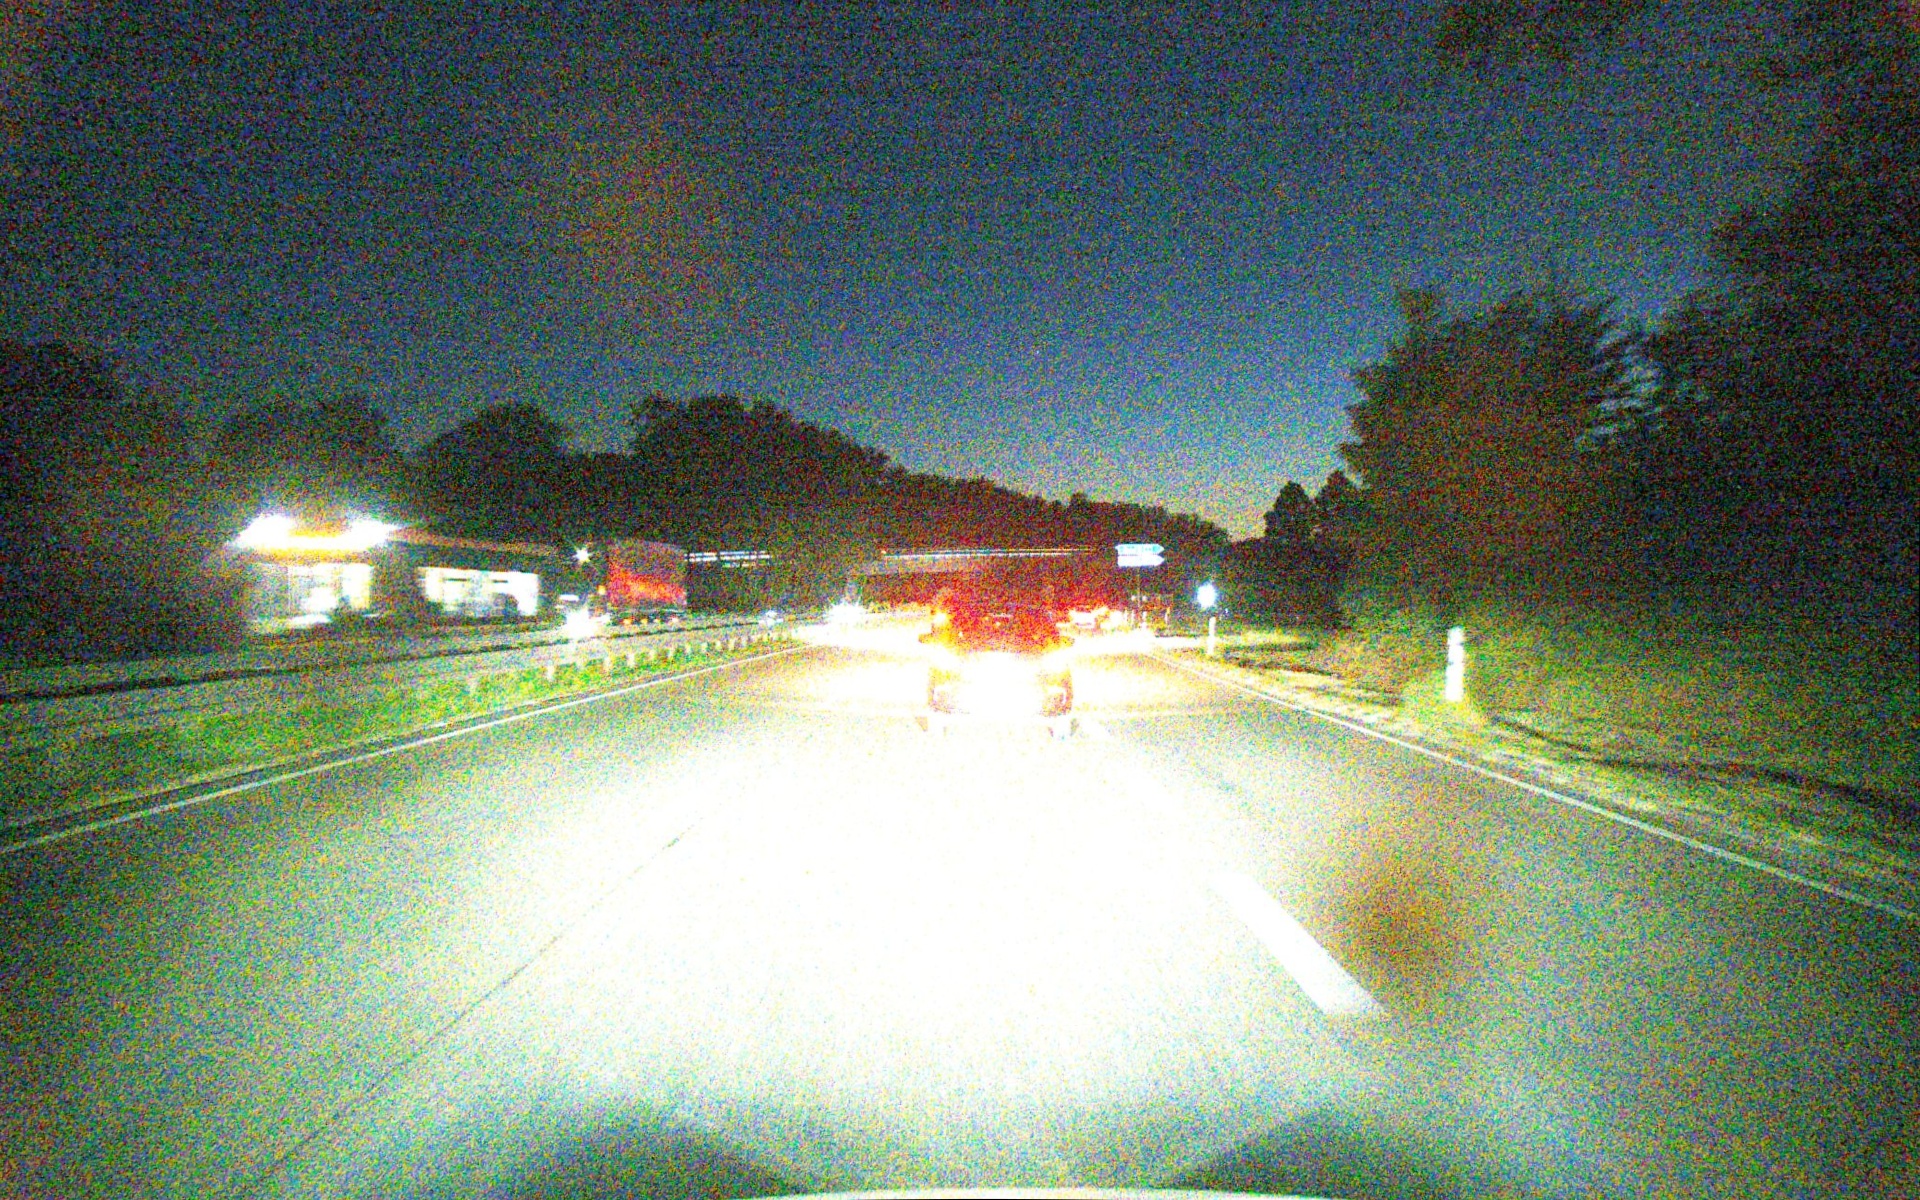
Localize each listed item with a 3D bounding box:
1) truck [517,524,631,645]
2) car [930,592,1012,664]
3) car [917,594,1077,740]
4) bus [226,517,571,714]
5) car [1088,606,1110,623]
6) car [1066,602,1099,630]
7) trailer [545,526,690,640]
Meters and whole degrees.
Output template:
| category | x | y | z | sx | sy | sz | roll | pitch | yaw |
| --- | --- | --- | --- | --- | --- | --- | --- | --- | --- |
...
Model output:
| category | x | y | z | sx | sy | sz | roll | pitch | yaw |
| --- | --- | --- | --- | --- | --- | --- | --- | --- | --- |
| truck | -14.120 | -0.565 | 60.965 | 2.620 | 4.250 | 5.870 | 0 | 0 | 2 |
| car | 0.270 | 0.647 | 40.788 | 1.900 | 1.636 | 4.643 | 1 | 0 | 0 |
| car | 0.411 | 0.705 | 19.274 | 1.656 | 1.503 | 4.000 | 1 | 0 | 1 |
| bus | -11.273 | 0.217 | 35.099 | 2.863 | 3.446 | 12.310 | 0 | 1 | 1 |
| car | 14.099 | 1.498 | 168.002 | 1.911 | 1.565 | 4.241 | -4 | -2 | 1 |
| car | 7.543 | 0.988 | 102.445 | 1.698 | 1.646 | 3.797 | 0 | 0 | -1 |
| trailer | -13.807 | -0.648 | 68.137 | 2.620 | 4.222 | 13.749 | 0 | 0 | 2 |
